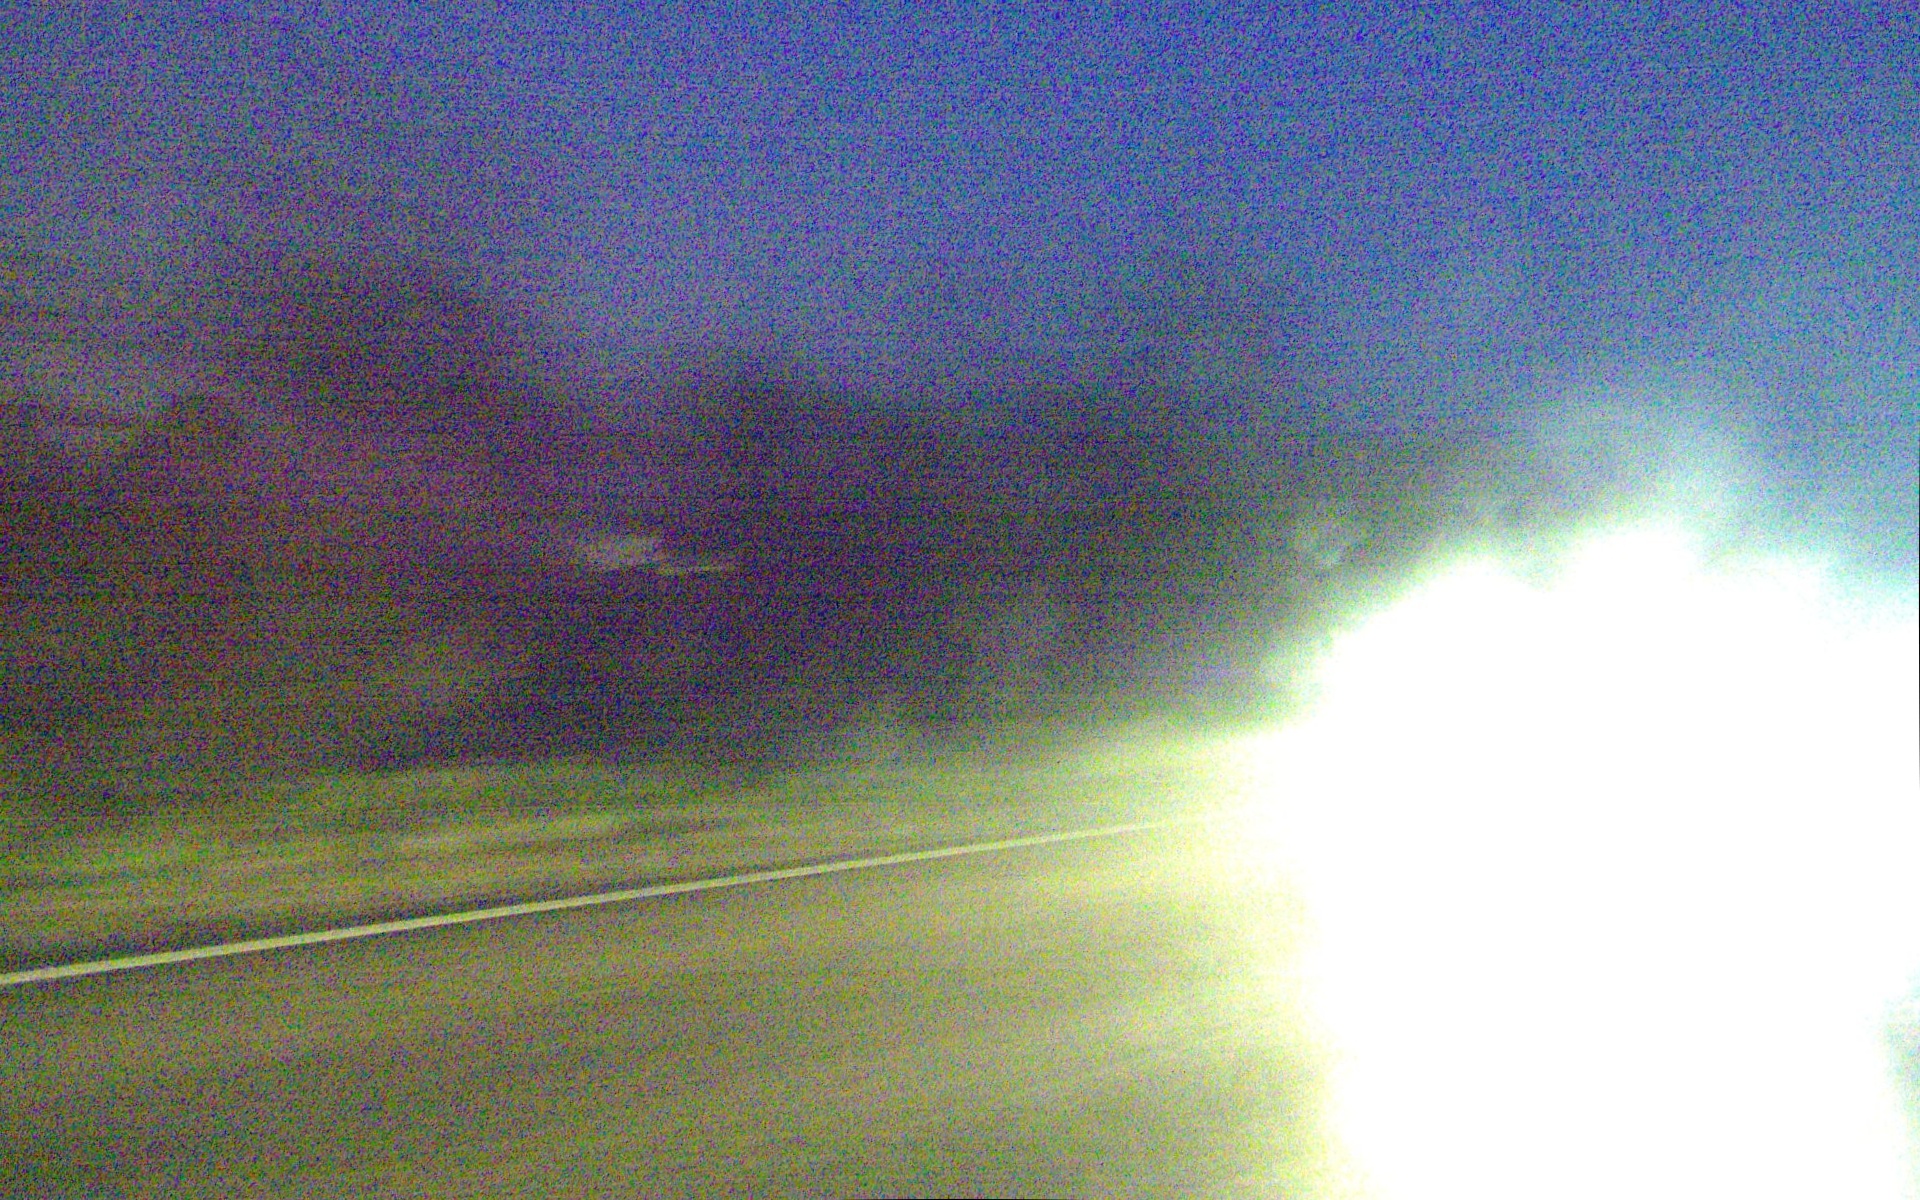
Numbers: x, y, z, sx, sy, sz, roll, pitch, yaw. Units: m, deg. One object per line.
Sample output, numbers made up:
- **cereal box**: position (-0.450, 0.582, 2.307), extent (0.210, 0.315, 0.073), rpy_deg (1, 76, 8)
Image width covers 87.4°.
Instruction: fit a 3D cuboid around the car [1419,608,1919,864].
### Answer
- **car**: position (5.567, 0.864, 7.656), extent (3.953, 1.460, 1.811), rpy_deg (2, 0, -30)
